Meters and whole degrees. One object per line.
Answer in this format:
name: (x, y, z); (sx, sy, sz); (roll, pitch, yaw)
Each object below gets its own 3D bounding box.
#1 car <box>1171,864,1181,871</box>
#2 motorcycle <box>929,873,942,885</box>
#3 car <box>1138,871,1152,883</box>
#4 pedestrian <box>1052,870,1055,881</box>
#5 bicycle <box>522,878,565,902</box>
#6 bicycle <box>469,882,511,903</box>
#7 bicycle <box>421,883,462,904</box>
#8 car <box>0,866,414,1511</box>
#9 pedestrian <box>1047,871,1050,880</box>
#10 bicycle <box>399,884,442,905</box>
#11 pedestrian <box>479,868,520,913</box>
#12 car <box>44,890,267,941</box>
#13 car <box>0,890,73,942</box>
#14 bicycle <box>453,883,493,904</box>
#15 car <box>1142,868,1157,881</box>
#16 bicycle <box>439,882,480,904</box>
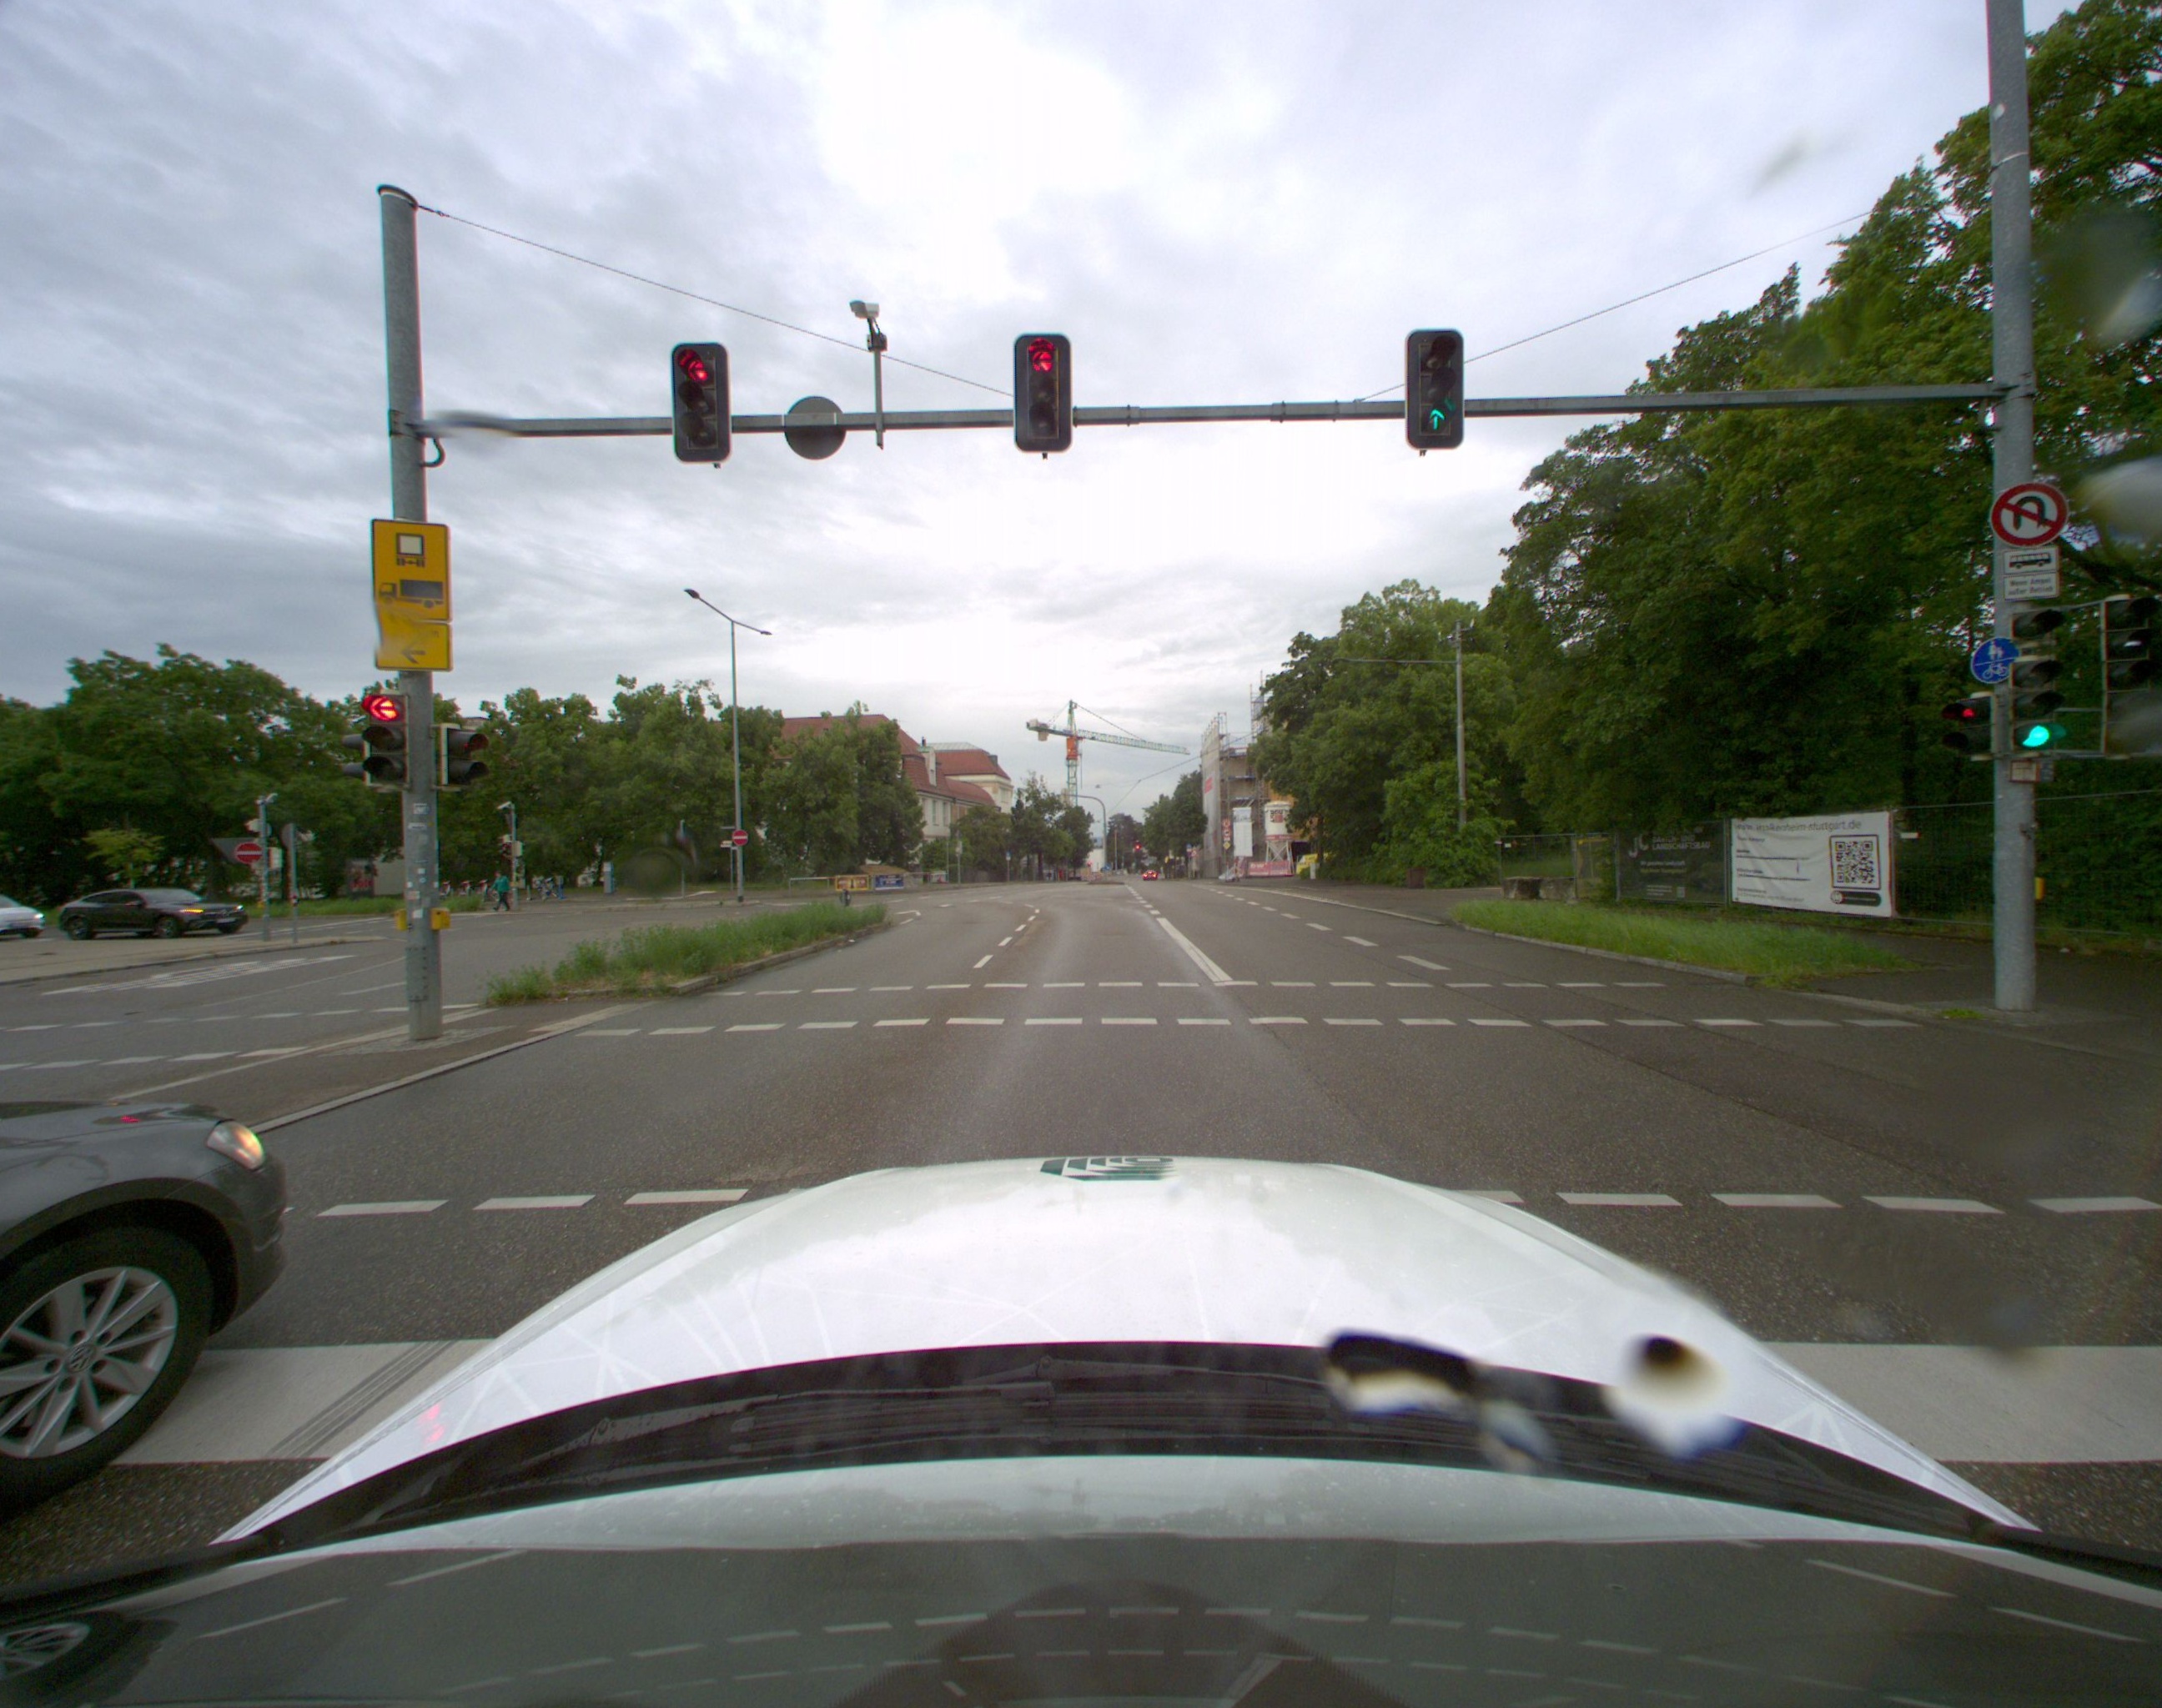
car: (25.526, 3.525, 218.934); (1.980, 1.750, 4.014); (-2, 0, 13)
motorcycle: (-11.648, 2.002, 65.287); (0.846, 0.877, 0.877); (0, -1, 1)
car: (10.192, 3.671, 130.679); (1.986, 1.750, 4.001); (-2, 0, 1)
pedestrian: (-4.249, 3.359, 126.205); (0.492, 1.645, 0.533); (0, -1, -4)
bicycle: (-29.436, 1.938, 44.614); (0.987, 1.249, 1.982); (0, -1, 2)
bicycle: (-32.269, 2.072, 44.505); (0.798, 1.071, 1.982); (0, -1, 2)
bicycle: (-34.987, 2.148, 44.579); (0.649, 1.071, 1.982); (0, -1, 2)
car: (-3.463, 0.805, 0.843); (1.809, 1.481, 4.378); (-2, 0, 2)
pedestrian: (-5.048, 3.309, 126.204); (0.473, 1.396, 0.411); (-2, 0, 1)
bicycle: (-35.964, 2.183, 44.364); (0.649, 1.071, 1.982); (0, -1, 2)
pedestrian: (-23.270, 1.449, 32.583); (0.918, 1.727, 0.948); (0, -1, 6)
car: (-30.075, 1.988, 26.584); (5.006, 1.500, 2.001); (0, -1, 1)
car: (-36.496, 2.040, 27.048); (3.539, 1.594, 2.001); (0, -1, 1)
bicycle: (-33.018, 2.124, 44.273); (0.649, 1.071, 1.982); (0, -1, 2)
car: (10.443, 3.122, 124.886); (1.986, 1.750, 4.001); (-2, 0, 1)
bicycle: (-33.908, 2.120, 44.448); (0.649, 1.071, 1.982); (0, -1, 2)
